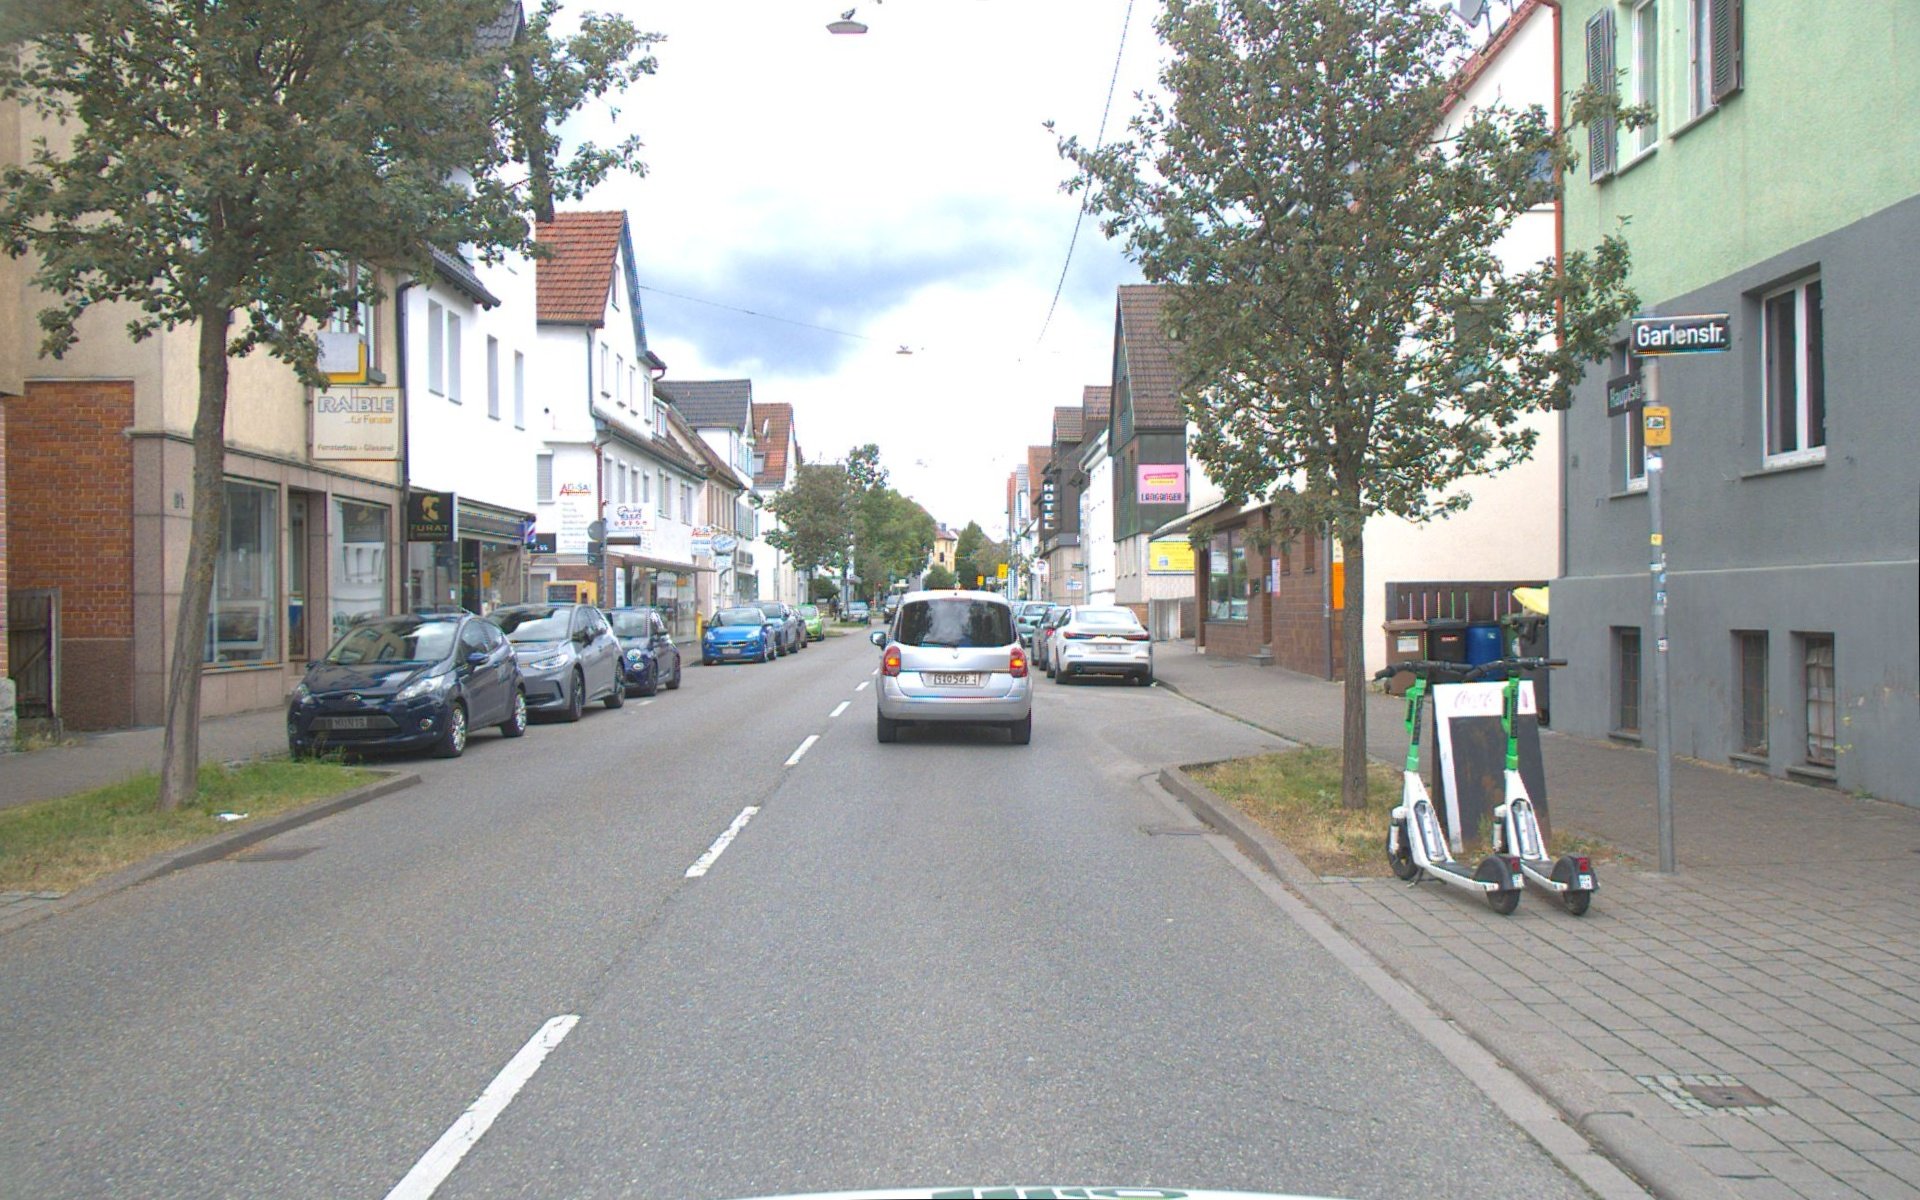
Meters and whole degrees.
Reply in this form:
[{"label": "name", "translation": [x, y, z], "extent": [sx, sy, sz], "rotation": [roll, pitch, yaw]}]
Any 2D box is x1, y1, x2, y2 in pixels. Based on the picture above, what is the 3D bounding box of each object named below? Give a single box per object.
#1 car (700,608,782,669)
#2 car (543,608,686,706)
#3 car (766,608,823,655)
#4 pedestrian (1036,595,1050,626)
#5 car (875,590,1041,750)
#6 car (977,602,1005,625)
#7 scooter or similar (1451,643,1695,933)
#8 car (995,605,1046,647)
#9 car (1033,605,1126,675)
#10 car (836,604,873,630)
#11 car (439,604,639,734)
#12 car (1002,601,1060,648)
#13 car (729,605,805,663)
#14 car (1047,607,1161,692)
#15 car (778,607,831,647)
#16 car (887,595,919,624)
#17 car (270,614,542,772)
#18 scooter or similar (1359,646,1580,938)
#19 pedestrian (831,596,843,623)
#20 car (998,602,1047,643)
[{"label": "car", "translation": [-5.850, 0.998, 44.585], "extent": [1.648, 1.525, 3.775], "rotation": [-2, 0, 0]}, {"label": "car", "translation": [-5.876, 0.930, 28.517], "extent": [1.648, 1.519, 3.591], "rotation": [-2, 0, 0]}, {"label": "car", "translation": [-5.615, 1.055, 56.469], "extent": [1.549, 1.534, 3.812], "rotation": [0, 0, 0]}, {"label": "pedestrian", "translation": [5.371, 0.677, 106.862], "extent": [0.839, 1.962, 0.899], "rotation": [0, -1, 0]}, {"label": "car", "translation": [-0.010, 0.714, 18.610], "extent": [1.648, 1.593, 3.993], "rotation": [1, 0, 0]}, {"label": "car", "translation": [2.044, 0.892, 109.241], "extent": [1.666, 1.493, 4.238], "rotation": [0, 0, -1]}, {"label": "scooter or similar", "translation": [3.038, 0.868, 8.386], "extent": [0.492, 1.257, 1.942], "rotation": [0, 0, -1]}, {"label": "car", "translation": [2.209, 0.945, 61.312], "extent": [1.719, 1.471, 4.454], "rotation": [1, 0, 0]}, {"label": "car", "translation": [2.635, 0.857, 37.313], "extent": [1.793, 1.471, 4.109], "rotation": [1, 0, 0]}, {"label": "car", "translation": [-6.432, 1.032, 101.453], "extent": [1.908, 1.493, 4.515], "rotation": [-3, 0, 0]}, {"label": "car", "translation": [-5.775, 0.884, 23.169], "extent": [1.675, 1.593, 4.113], "rotation": [-2, 0, 0]}, {"label": "car", "translation": [2.390, 0.814, 56.192], "extent": [1.793, 1.524, 3.993], "rotation": [1, 0, 0]}, {"label": "car", "translation": [-5.871, 1.016, 50.717], "extent": [1.766, 1.627, 4.304], "rotation": [-2, 0, 0]}, {"label": "car", "translation": [2.645, 0.877, 31.274], "extent": [1.793, 1.471, 4.331], "rotation": [1, 0, 0]}, {"label": "car", "translation": [-6.204, 1.057, 66.367], "extent": [1.648, 1.473, 4.020], "rotation": [-2, 0, 0]}, {"label": "car", "translation": [-3.654, 0.622, 106.493], "extent": [1.862, 1.768, 4.366], "rotation": [-2, 0, 0]}, {"label": "car", "translation": [-5.829, 0.910, 17.892], "extent": [1.648, 1.449, 3.930], "rotation": [-2, 0, -1]}, {"label": "scooter or similar", "translation": [2.514, 0.886, 8.370], "extent": [0.492, 1.257, 1.942], "rotation": [0, 0, -1]}, {"label": "pedestrian", "translation": [-8.446, 0.677, 113.302], "extent": [0.747, 1.823, 0.889], "rotation": [0, -1, -1]}, {"label": "car", "translation": [2.521, 0.899, 67.335], "extent": [1.837, 1.566, 4.512], "rotation": [0, 0, 0]}]
